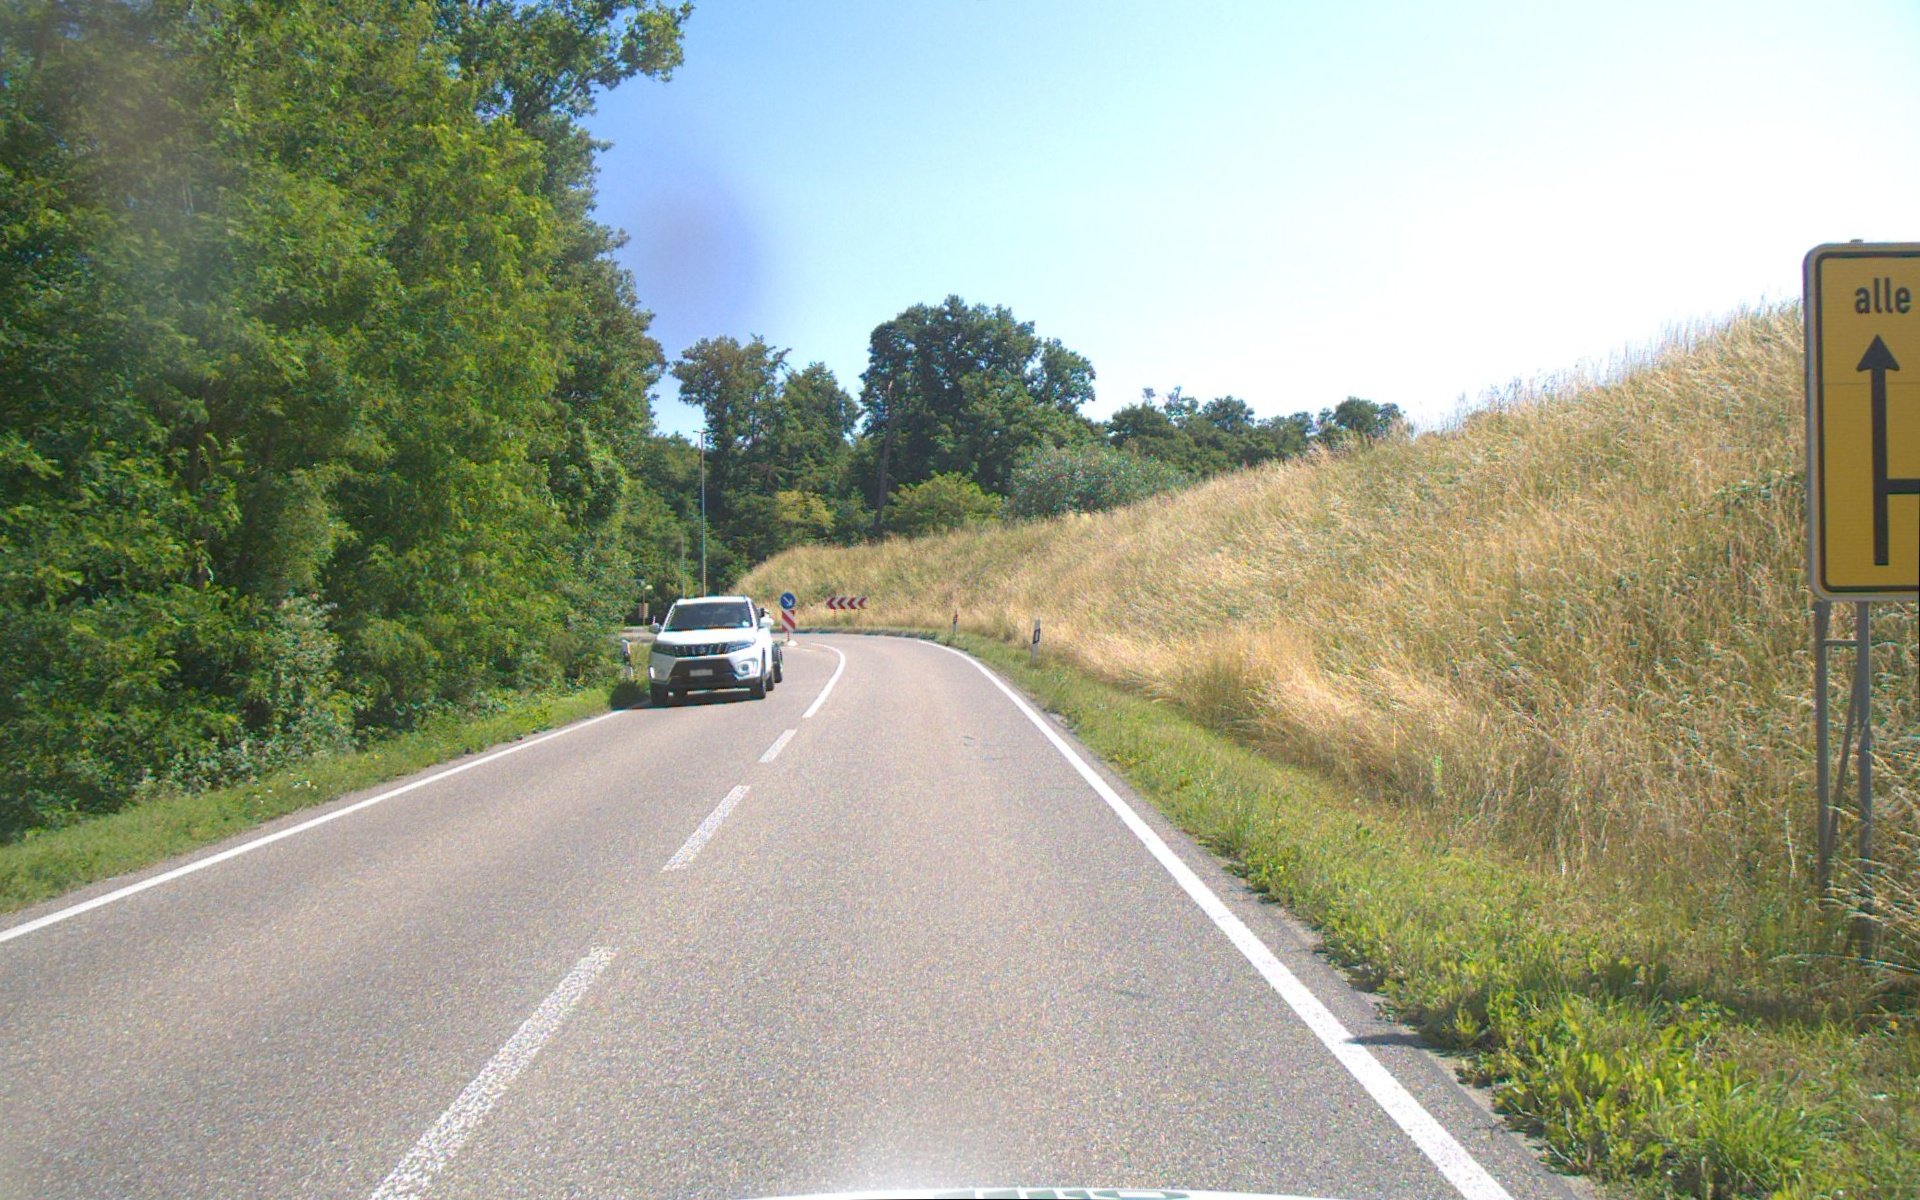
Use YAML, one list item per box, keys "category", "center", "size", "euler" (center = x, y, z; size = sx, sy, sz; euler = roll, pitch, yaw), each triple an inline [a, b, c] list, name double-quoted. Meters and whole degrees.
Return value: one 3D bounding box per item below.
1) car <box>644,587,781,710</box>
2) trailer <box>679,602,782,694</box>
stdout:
- category: "car"
  center: [-3.897, 0.710, 26.583]
  size: [1.774, 1.705, 3.997]
  euler: [-4, 0, -4]
- category: "trailer"
  center: [-4.143, 0.835, 30.224]
  size: [1.529, 1.466, 3.266]
  euler: [-4, 0, -4]
